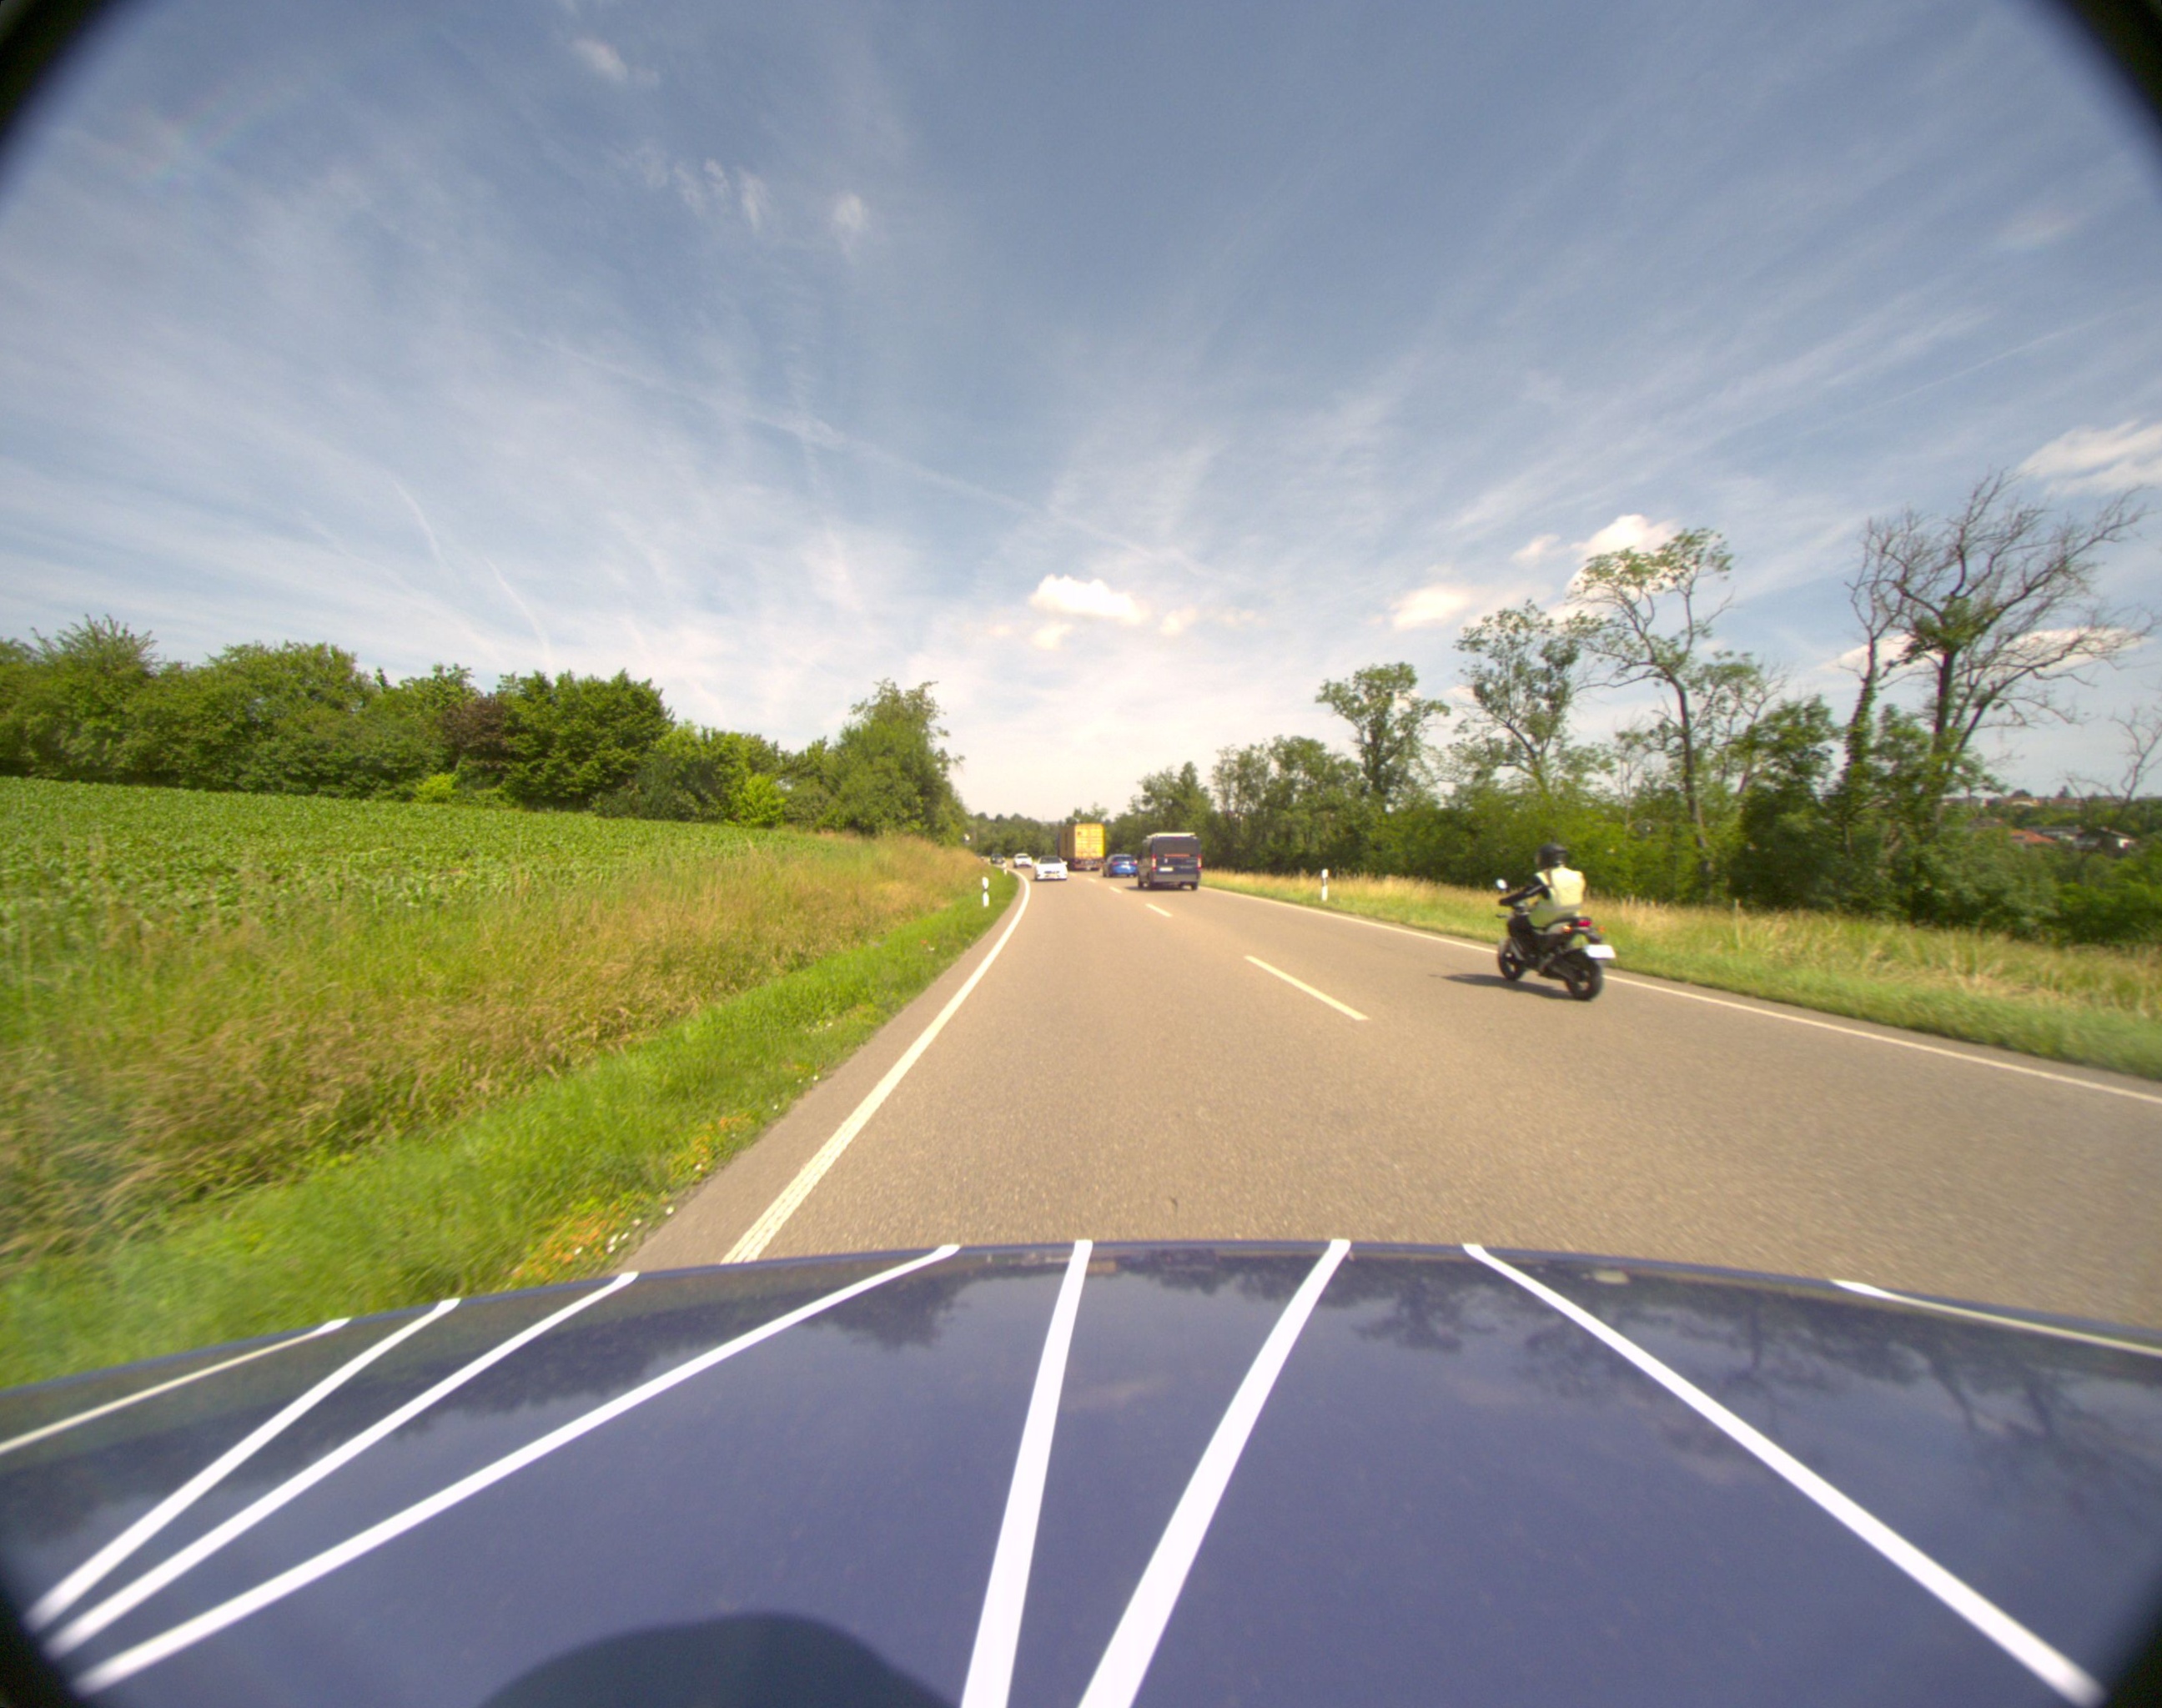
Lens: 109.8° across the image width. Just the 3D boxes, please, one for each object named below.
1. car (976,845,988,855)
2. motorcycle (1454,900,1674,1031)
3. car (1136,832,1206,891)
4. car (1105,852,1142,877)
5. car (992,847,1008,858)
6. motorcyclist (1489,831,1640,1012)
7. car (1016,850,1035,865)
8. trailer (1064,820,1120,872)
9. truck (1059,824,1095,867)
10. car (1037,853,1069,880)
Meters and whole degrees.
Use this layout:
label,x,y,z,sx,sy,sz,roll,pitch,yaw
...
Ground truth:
label,x,y,z,sx,sy,sz,roll,pitch,yaw
car,-17.086,-0.730,131.541,1.667,1.641,3.995,3,0,-12
motorcycle,4.806,1.051,7.822,0.759,0.988,2.279,-1,1,-2
car,3.757,0.298,32.713,2.176,2.290,4.905,-2,0,-2
car,2.685,0.641,49.108,1.868,1.477,4.357,-1,0,-3
car,-11.751,-0.214,110.352,1.827,1.510,3.995,3,0,-13
motorcyclist,4.834,0.636,7.676,0.921,1.708,0.962,-1,1,0
car,-6.080,0.400,83.515,1.867,1.480,3.996,-2,2,-7
trailer,0.696,-0.732,66.040,3.006,4.020,12.906,-1,1,-7
truck,-0.431,-0.844,74.191,2.815,4.044,5.980,-1,1,-7
car,-1.735,0.740,46.015,1.773,1.437,3.998,-2,1,-4
